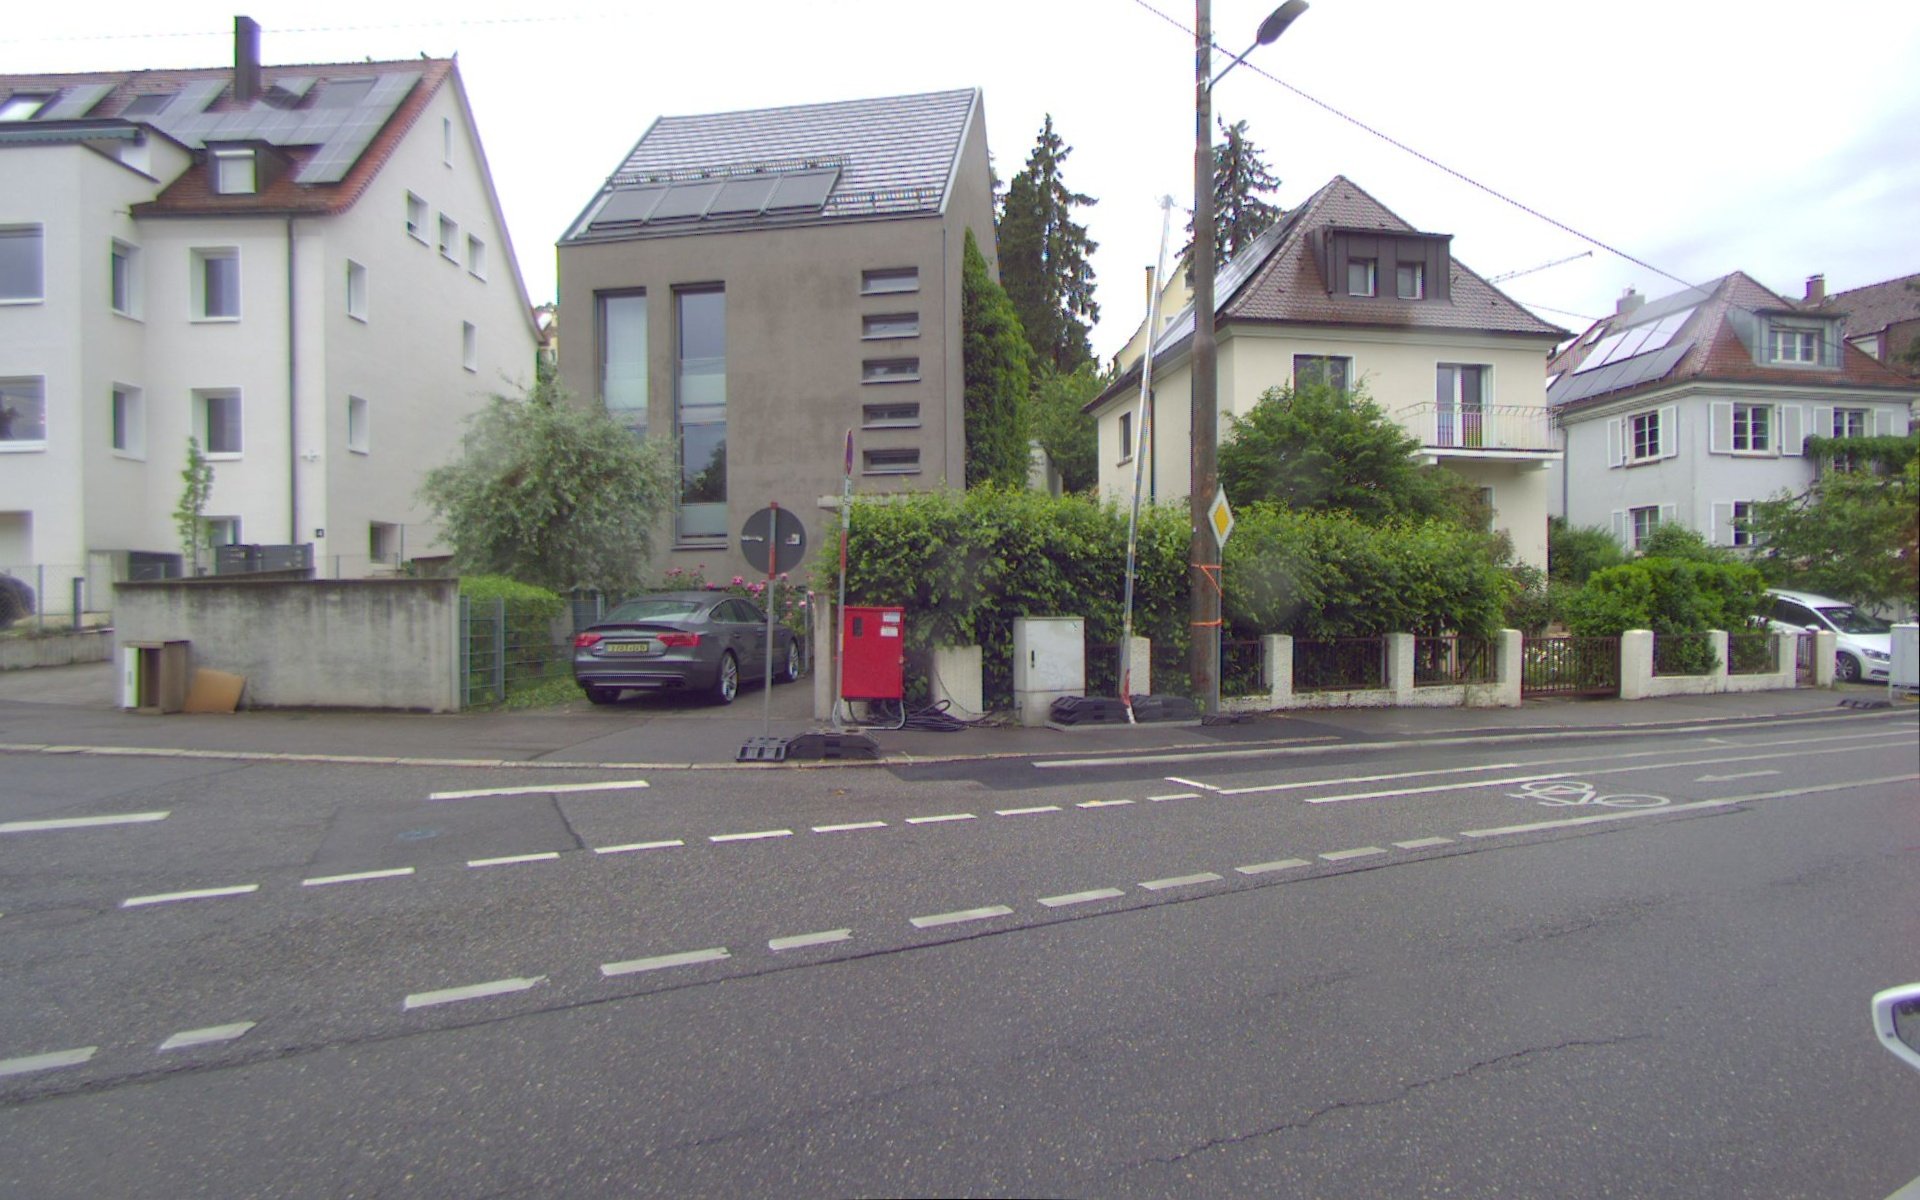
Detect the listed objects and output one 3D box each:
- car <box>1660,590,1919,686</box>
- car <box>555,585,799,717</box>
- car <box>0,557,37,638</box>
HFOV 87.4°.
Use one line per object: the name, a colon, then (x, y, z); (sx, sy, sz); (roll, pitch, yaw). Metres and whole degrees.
car: (19.602, 0.814, 23.923); (1.870, 2.033, 4.628); (1, 0, -18)
car: (-3.602, 0.560, 13.586); (1.740, 1.506, 4.002); (0, 1, 7)
car: (-16.725, 0.046, 15.179); (1.576, 1.298, 4.008); (2, 4, 6)
